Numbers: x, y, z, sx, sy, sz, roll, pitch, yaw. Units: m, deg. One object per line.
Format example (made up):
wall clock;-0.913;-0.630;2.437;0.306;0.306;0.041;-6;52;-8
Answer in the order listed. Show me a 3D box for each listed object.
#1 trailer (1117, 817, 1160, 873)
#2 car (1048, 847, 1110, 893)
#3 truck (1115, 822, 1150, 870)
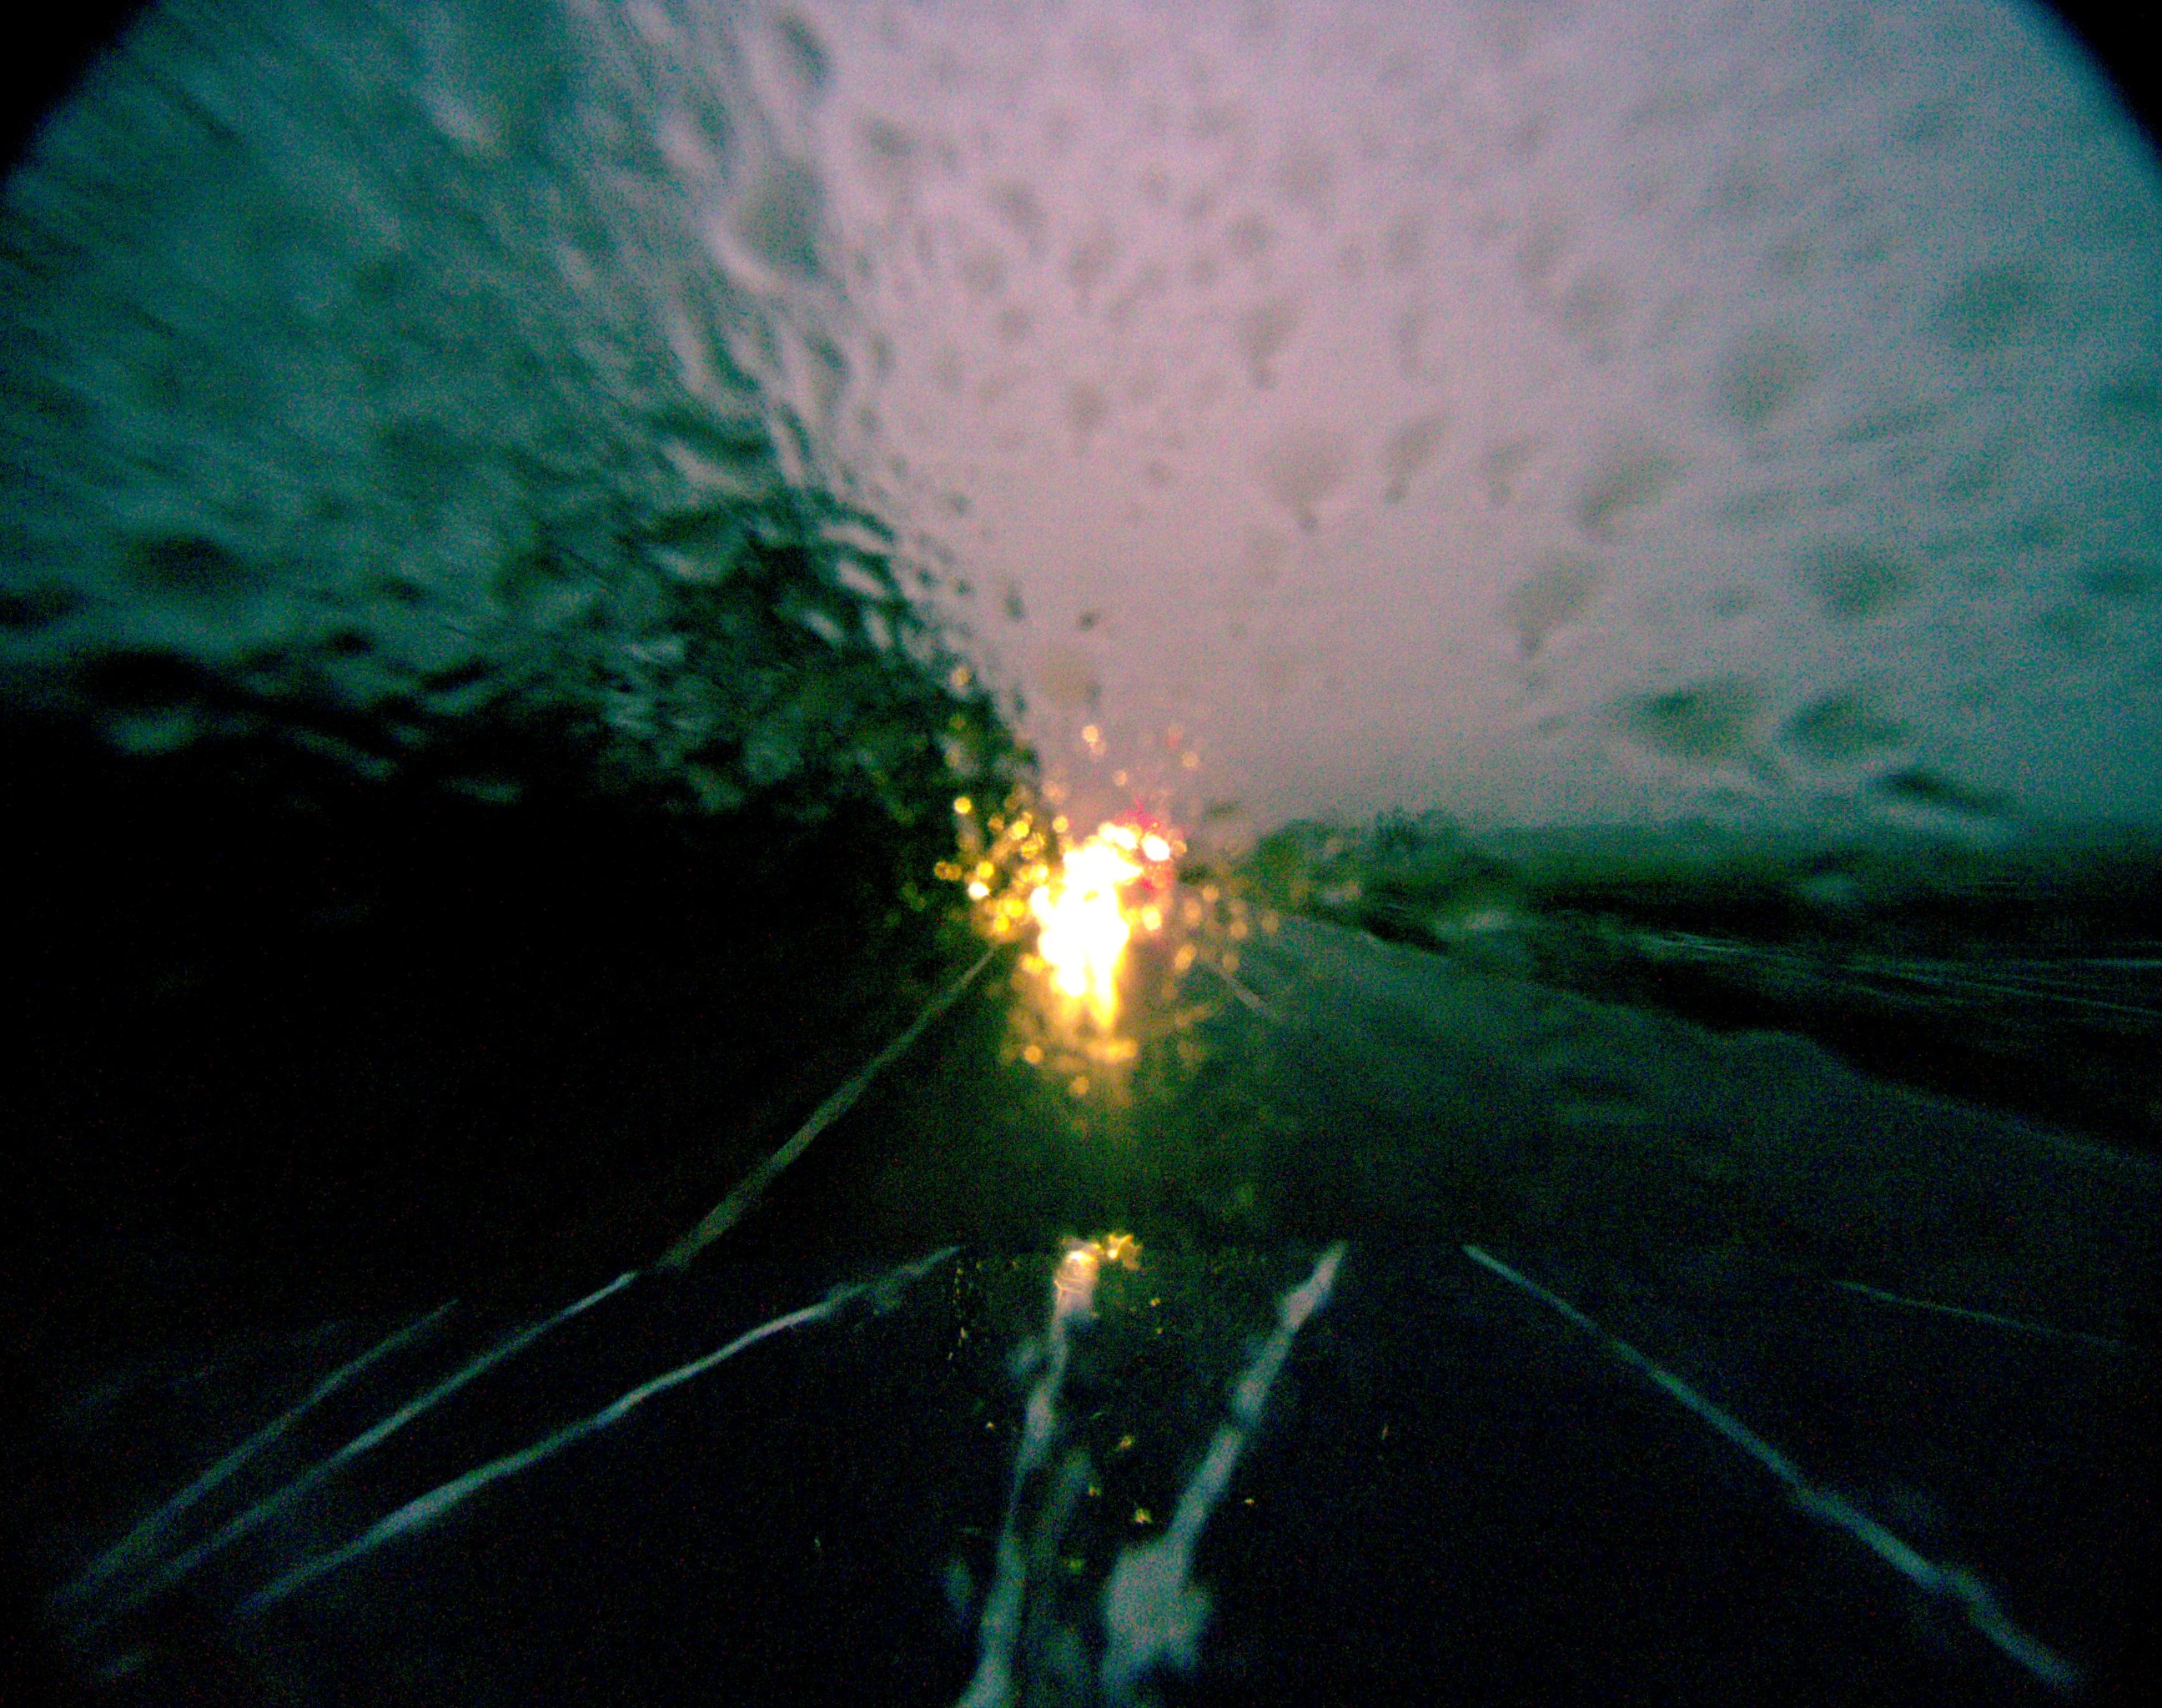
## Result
trailer;4.509;-0.659;62.185;2.708;4.056;12.381;-1;0;1
car;0.003;0.708;37.373;2.704;1.974;5.804;-3;0;2
truck;4.590;-0.688;68.869;2.732;4.081;6.588;-1;0;1
